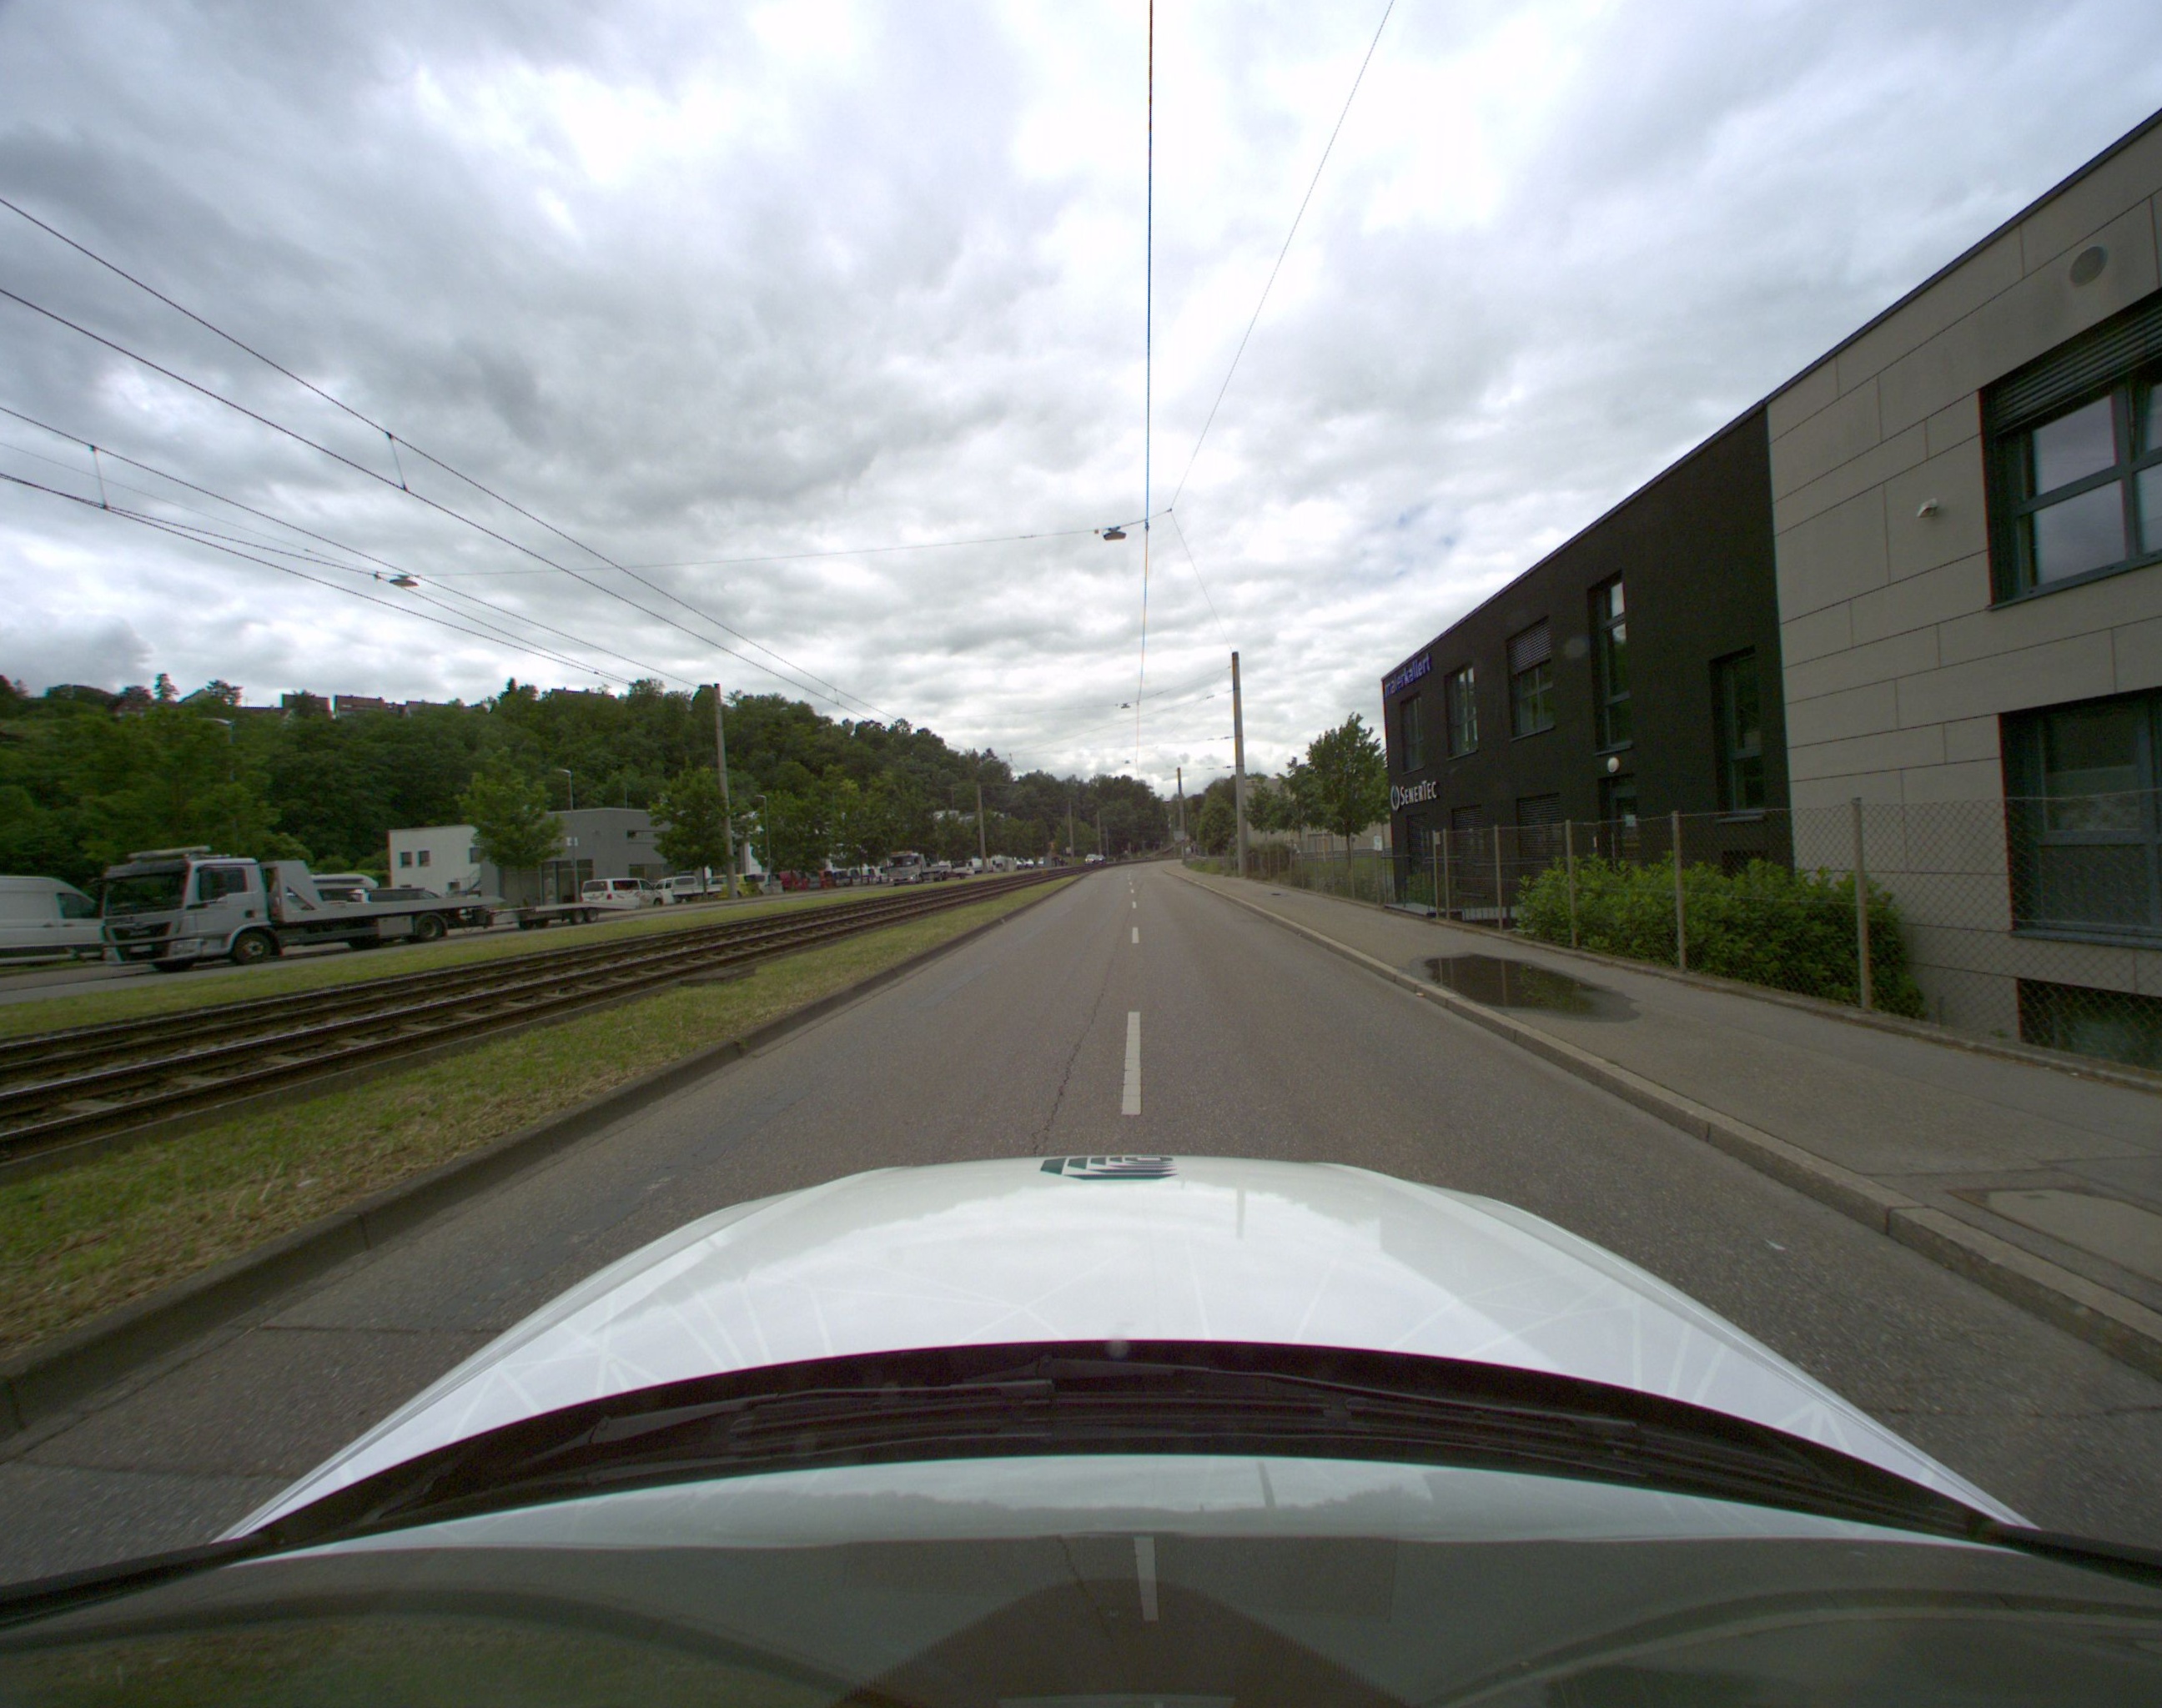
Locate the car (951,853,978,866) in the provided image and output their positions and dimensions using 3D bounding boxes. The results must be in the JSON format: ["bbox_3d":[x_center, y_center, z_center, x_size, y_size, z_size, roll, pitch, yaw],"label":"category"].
[{"bbox_3d":[-18.620,0.910,130.720,4.122,1.706,1.830,-2,-4,-5],"label":"car"}]

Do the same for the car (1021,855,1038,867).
[{"bbox_3d":[-9.060,1.234,143.440,1.814,1.706,4.158,-4,-4,15],"label":"car"}]

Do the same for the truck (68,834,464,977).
[{"bbox_3d":[-20.456,1.110,21.253,2.869,2.990,6.923,-3,0,6],"label":"truck"}]

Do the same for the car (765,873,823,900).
[{"bbox_3d":[-23.488,2.686,66.779,3.966,2.014,2.003,-3,-4,6],"label":"car"}]

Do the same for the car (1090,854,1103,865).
[{"bbox_3d":[2.647,0.939,138.367,1.984,1.640,4.005,-3,0,4],"label":"car"}]

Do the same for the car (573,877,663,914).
[{"bbox_3d":[-25.821,2.327,45.631,1.983,1.898,4.617,-3,-4,7],"label":"car"}]

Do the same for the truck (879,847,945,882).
[{"bbox_3d":[-14.143,0.820,68.830,2.864,2.589,6.934,-3,0,12],"label":"truck"}]

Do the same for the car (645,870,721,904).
[{"bbox_3d":[-25.639,2.164,52.421,4.552,1.898,2.011,-4,-4,26],"label":"car"}]

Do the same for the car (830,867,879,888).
[{"bbox_3d":[-21.292,2.163,76.542,3.962,1.706,1.839,-3,0,10],"label":"car"}]

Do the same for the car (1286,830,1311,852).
[{"bbox_3d":[18.299,-1.080,68.633,1.815,1.706,3.819,-3,0,13],"label":"car"}]

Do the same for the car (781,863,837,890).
[{"bbox_3d":[-23.201,1.958,69.515,3.966,2.014,2.003,-3,-4,6],"label":"car"}]

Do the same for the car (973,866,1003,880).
[{"bbox_3d":[-13.394,2.735,117.391,3.962,1.706,1.839,-3,-4,10],"label":"car"}]

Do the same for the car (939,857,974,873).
[{"bbox_3d":[-15.739,1.441,102.873,3.962,1.706,1.839,-3,-4,10],"label":"car"}]

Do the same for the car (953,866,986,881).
[{"bbox_3d":[-14.808,2.578,108.168,3.962,1.705,1.839,-3,1,10],"label":"car"}]

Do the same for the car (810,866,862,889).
[{"bbox_3d":[-22.181,2.124,73.857,3.962,1.705,1.839,-3,1,10],"label":"car"}]

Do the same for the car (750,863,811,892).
[{"bbox_3d":[-23.656,1.895,64.201,3.966,2.014,2.003,-3,-4,6],"label":"car"}]

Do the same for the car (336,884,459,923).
[{"bbox_3d":[-37.552,2.706,44.891,1.589,1.765,4.910,-3,0,31],"label":"car"}]

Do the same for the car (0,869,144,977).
[{"bbox_3d":[-27.951,1.783,20.745,1.998,2.646,5.431,-3,0,-4],"label":"car"}]

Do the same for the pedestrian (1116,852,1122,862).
[{"bbox_3d":[8.640,0.668,186.091,1.005,2.014,1.151,-4,-4,20],"label":"pedestrian"}]

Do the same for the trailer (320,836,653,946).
[{"bbox_3d":[-19.751,1.022,28.542,2.878,2.982,10.807,-3,0,5],"label":"trailer"}]

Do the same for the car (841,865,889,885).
[{"bbox_3d":[-20.937,2.029,79.045,3.962,1.705,1.839,-3,1,10],"label":"car"}]

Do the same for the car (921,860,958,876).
[{"bbox_3d":[-17.210,1.691,99.263,3.962,1.706,1.839,-3,-4,10],"label":"car"}]

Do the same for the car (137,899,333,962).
[{"bbox_3d":[-28.321,2.514,27.506,2.150,1.877,4.252,-3,-4,-1],"label":"car"}]

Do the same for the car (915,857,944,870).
[{"bbox_3d":[-23.111,1.396,124.642,4.122,1.706,1.830,-2,-4,-5],"label":"car"}]

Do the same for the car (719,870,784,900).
[{"bbox_3d":[-24.683,2.328,61.120,3.966,2.014,2.003,-3,-4,6],"label":"car"}]

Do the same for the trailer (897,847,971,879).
[{"bbox_3d":[-13.132,0.736,73.868,2.873,2.583,10.027,-3,0,12],"label":"trailer"}]

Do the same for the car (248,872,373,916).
[{"bbox_3d":[-44.057,2.263,46.690,1.589,2.191,4.910,-3,0,31],"label":"car"}]

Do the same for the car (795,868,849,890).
[{"bbox_3d":[-22.778,2.169,71.687,3.962,1.706,1.839,-3,-1,10],"label":"car"}]

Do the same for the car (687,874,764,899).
[{"bbox_3d":[-25.358,2.340,58.128,4.572,1.575,2.003,-3,-4,6],"label":"car"}]

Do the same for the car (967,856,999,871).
[{"bbox_3d":[-13.674,1.351,113.178,3.962,1.706,1.839,-3,-4,10],"label":"car"}]

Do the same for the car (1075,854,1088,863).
[{"bbox_3d":[0.084,0.795,150.744,1.984,1.640,4.005,-3,0,4],"label":"car"}]

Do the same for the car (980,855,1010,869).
[{"bbox_3d":[-12.720,1.223,120.727,3.962,1.706,1.839,-3,-4,10],"label":"car"}]
